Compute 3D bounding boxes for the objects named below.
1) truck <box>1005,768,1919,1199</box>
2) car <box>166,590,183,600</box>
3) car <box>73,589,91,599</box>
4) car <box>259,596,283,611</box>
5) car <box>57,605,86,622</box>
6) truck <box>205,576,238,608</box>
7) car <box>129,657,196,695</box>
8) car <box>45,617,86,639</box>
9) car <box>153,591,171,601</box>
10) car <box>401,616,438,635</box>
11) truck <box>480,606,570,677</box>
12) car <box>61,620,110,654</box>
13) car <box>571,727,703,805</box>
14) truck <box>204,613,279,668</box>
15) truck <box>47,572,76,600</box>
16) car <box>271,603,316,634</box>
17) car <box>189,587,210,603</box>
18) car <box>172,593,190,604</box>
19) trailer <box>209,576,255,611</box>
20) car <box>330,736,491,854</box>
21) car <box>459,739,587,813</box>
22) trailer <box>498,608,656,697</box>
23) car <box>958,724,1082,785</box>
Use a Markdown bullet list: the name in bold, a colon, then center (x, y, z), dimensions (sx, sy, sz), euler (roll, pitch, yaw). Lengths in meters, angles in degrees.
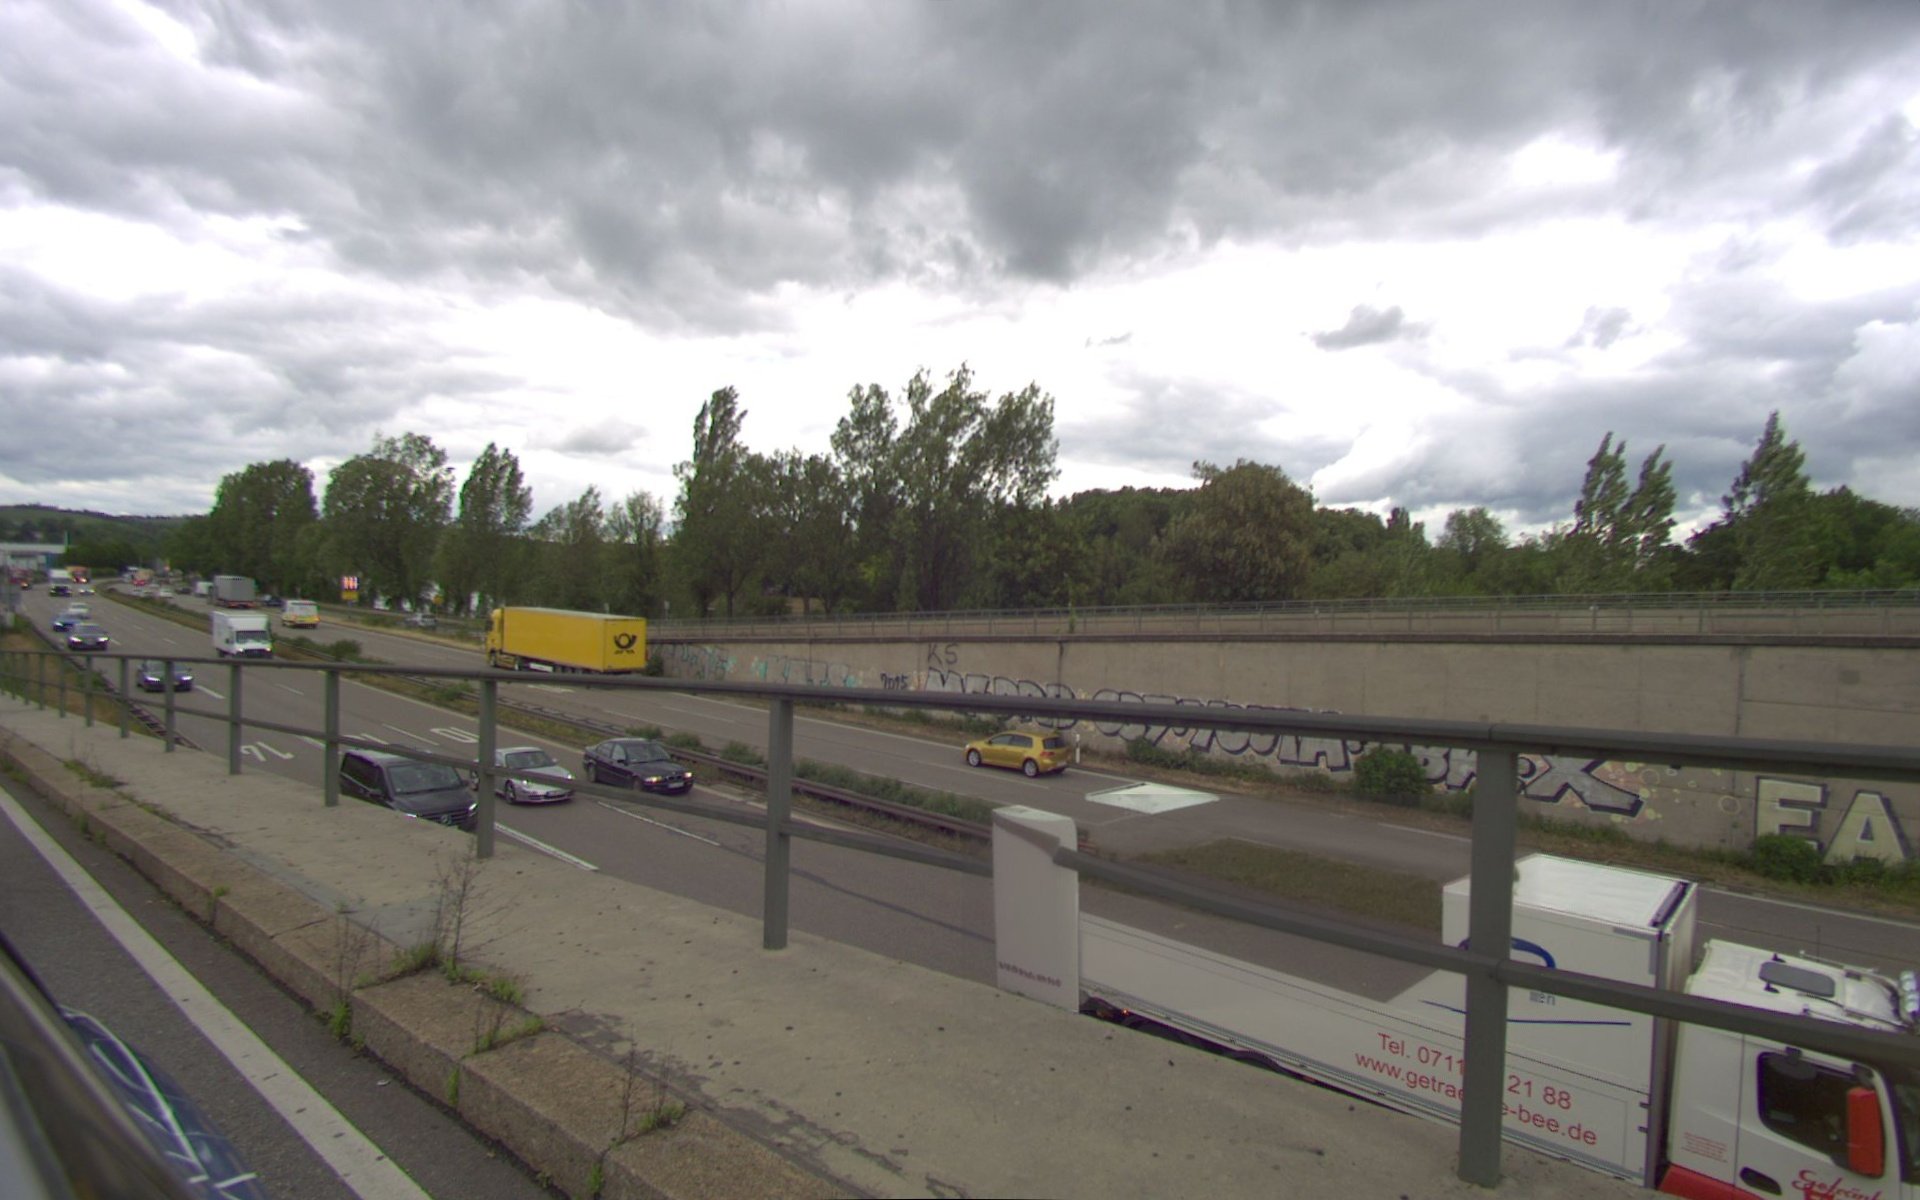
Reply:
- **truck**: center (5.282, 4.559, 11.987), dimensions (9.872, 3.552, 2.851), euler (2, -1, 43)
- **car**: center (-161.002, -1.025, 207.516), dimensions (4.562, 1.831, 1.861), euler (2, -3, 42)
- **car**: center (-149.504, -1.018, 172.294), dimensions (4.439, 1.582, 1.830), euler (3, 2, 43)
- **car**: center (-98.085, 0.498, 144.005), dimensions (1.970, 1.914, 4.587), euler (6, -3, -44)
- **car**: center (-86.418, 1.302, 98.412), dimensions (3.337, 1.539, 1.745), euler (2, 0, 43)
- **truck**: center (-102.203, -1.136, 140.090), dimensions (5.939, 4.170, 2.755), euler (3, 1, 45)
- **car**: center (-38.507, 3.617, 48.824), dimensions (4.126, 1.461, 1.804), euler (2, 0, 41)
- **car**: center (-72.344, 2.275, 81.814), dimensions (3.999, 1.544, 1.973), euler (2, -1, 41)
- **car**: center (-129.625, -0.674, 164.392), dimensions (4.002, 1.431, 1.660), euler (3, 0, 44)
- **car**: center (-53.761, 2.510, 100.636), dimensions (4.378, 1.664, 1.872), euler (1, 2, 43)
- **truck**: center (-28.224, 2.636, 65.552), dimensions (5.806, 4.213, 3.204), euler (2, 0, 44)
- **car**: center (-57.837, 2.421, 66.892), dimensions (4.001, 2.029, 1.971), euler (2, -1, 43)
- **car**: center (-9.834, 4.943, 30.633), dimensions (4.425, 1.476, 1.838), euler (2, 2, 43)
- **truck**: center (-45.120, 2.468, 63.503), dimensions (7.229, 3.031, 2.210), euler (2, 1, 41)
- **truck**: center (-139.903, -2.248, 157.548), dimensions (2.968, 4.140, 5.880), euler (3, 0, -44)
- **car**: center (-63.960, 1.753, 97.043), dimensions (6.715, 2.648, 1.972), euler (2, -1, 43)
- **car**: center (-134.304, -0.865, 178.693), dimensions (5.180, 2.669, 1.972), euler (2, -3, 42)
- **car**: center (-148.734, -0.235, 193.259), dimensions (4.562, 1.831, 1.861), euler (2, -3, 42)
- **trailer**: center (-97.341, -0.886, 135.204), dimensions (2.755, 4.170, 13.773), euler (1, 1, -45)
- **car**: center (-13.177, 4.519, 24.155), dimensions (4.424, 1.853, 1.972), euler (2, 0, 42)
- **car**: center (-12.488, 4.938, 28.824), dimensions (4.153, 1.311, 1.766), euler (3, 0, 43)
- **trailer**: center (-23.260, 2.909, 60.722), dimensions (13.685, 4.294, 3.204), euler (2, 0, 44)
- **car**: center (2.103, 5.457, 36.247), dimensions (4.152, 1.468, 1.848), euler (2, 0, 41)
